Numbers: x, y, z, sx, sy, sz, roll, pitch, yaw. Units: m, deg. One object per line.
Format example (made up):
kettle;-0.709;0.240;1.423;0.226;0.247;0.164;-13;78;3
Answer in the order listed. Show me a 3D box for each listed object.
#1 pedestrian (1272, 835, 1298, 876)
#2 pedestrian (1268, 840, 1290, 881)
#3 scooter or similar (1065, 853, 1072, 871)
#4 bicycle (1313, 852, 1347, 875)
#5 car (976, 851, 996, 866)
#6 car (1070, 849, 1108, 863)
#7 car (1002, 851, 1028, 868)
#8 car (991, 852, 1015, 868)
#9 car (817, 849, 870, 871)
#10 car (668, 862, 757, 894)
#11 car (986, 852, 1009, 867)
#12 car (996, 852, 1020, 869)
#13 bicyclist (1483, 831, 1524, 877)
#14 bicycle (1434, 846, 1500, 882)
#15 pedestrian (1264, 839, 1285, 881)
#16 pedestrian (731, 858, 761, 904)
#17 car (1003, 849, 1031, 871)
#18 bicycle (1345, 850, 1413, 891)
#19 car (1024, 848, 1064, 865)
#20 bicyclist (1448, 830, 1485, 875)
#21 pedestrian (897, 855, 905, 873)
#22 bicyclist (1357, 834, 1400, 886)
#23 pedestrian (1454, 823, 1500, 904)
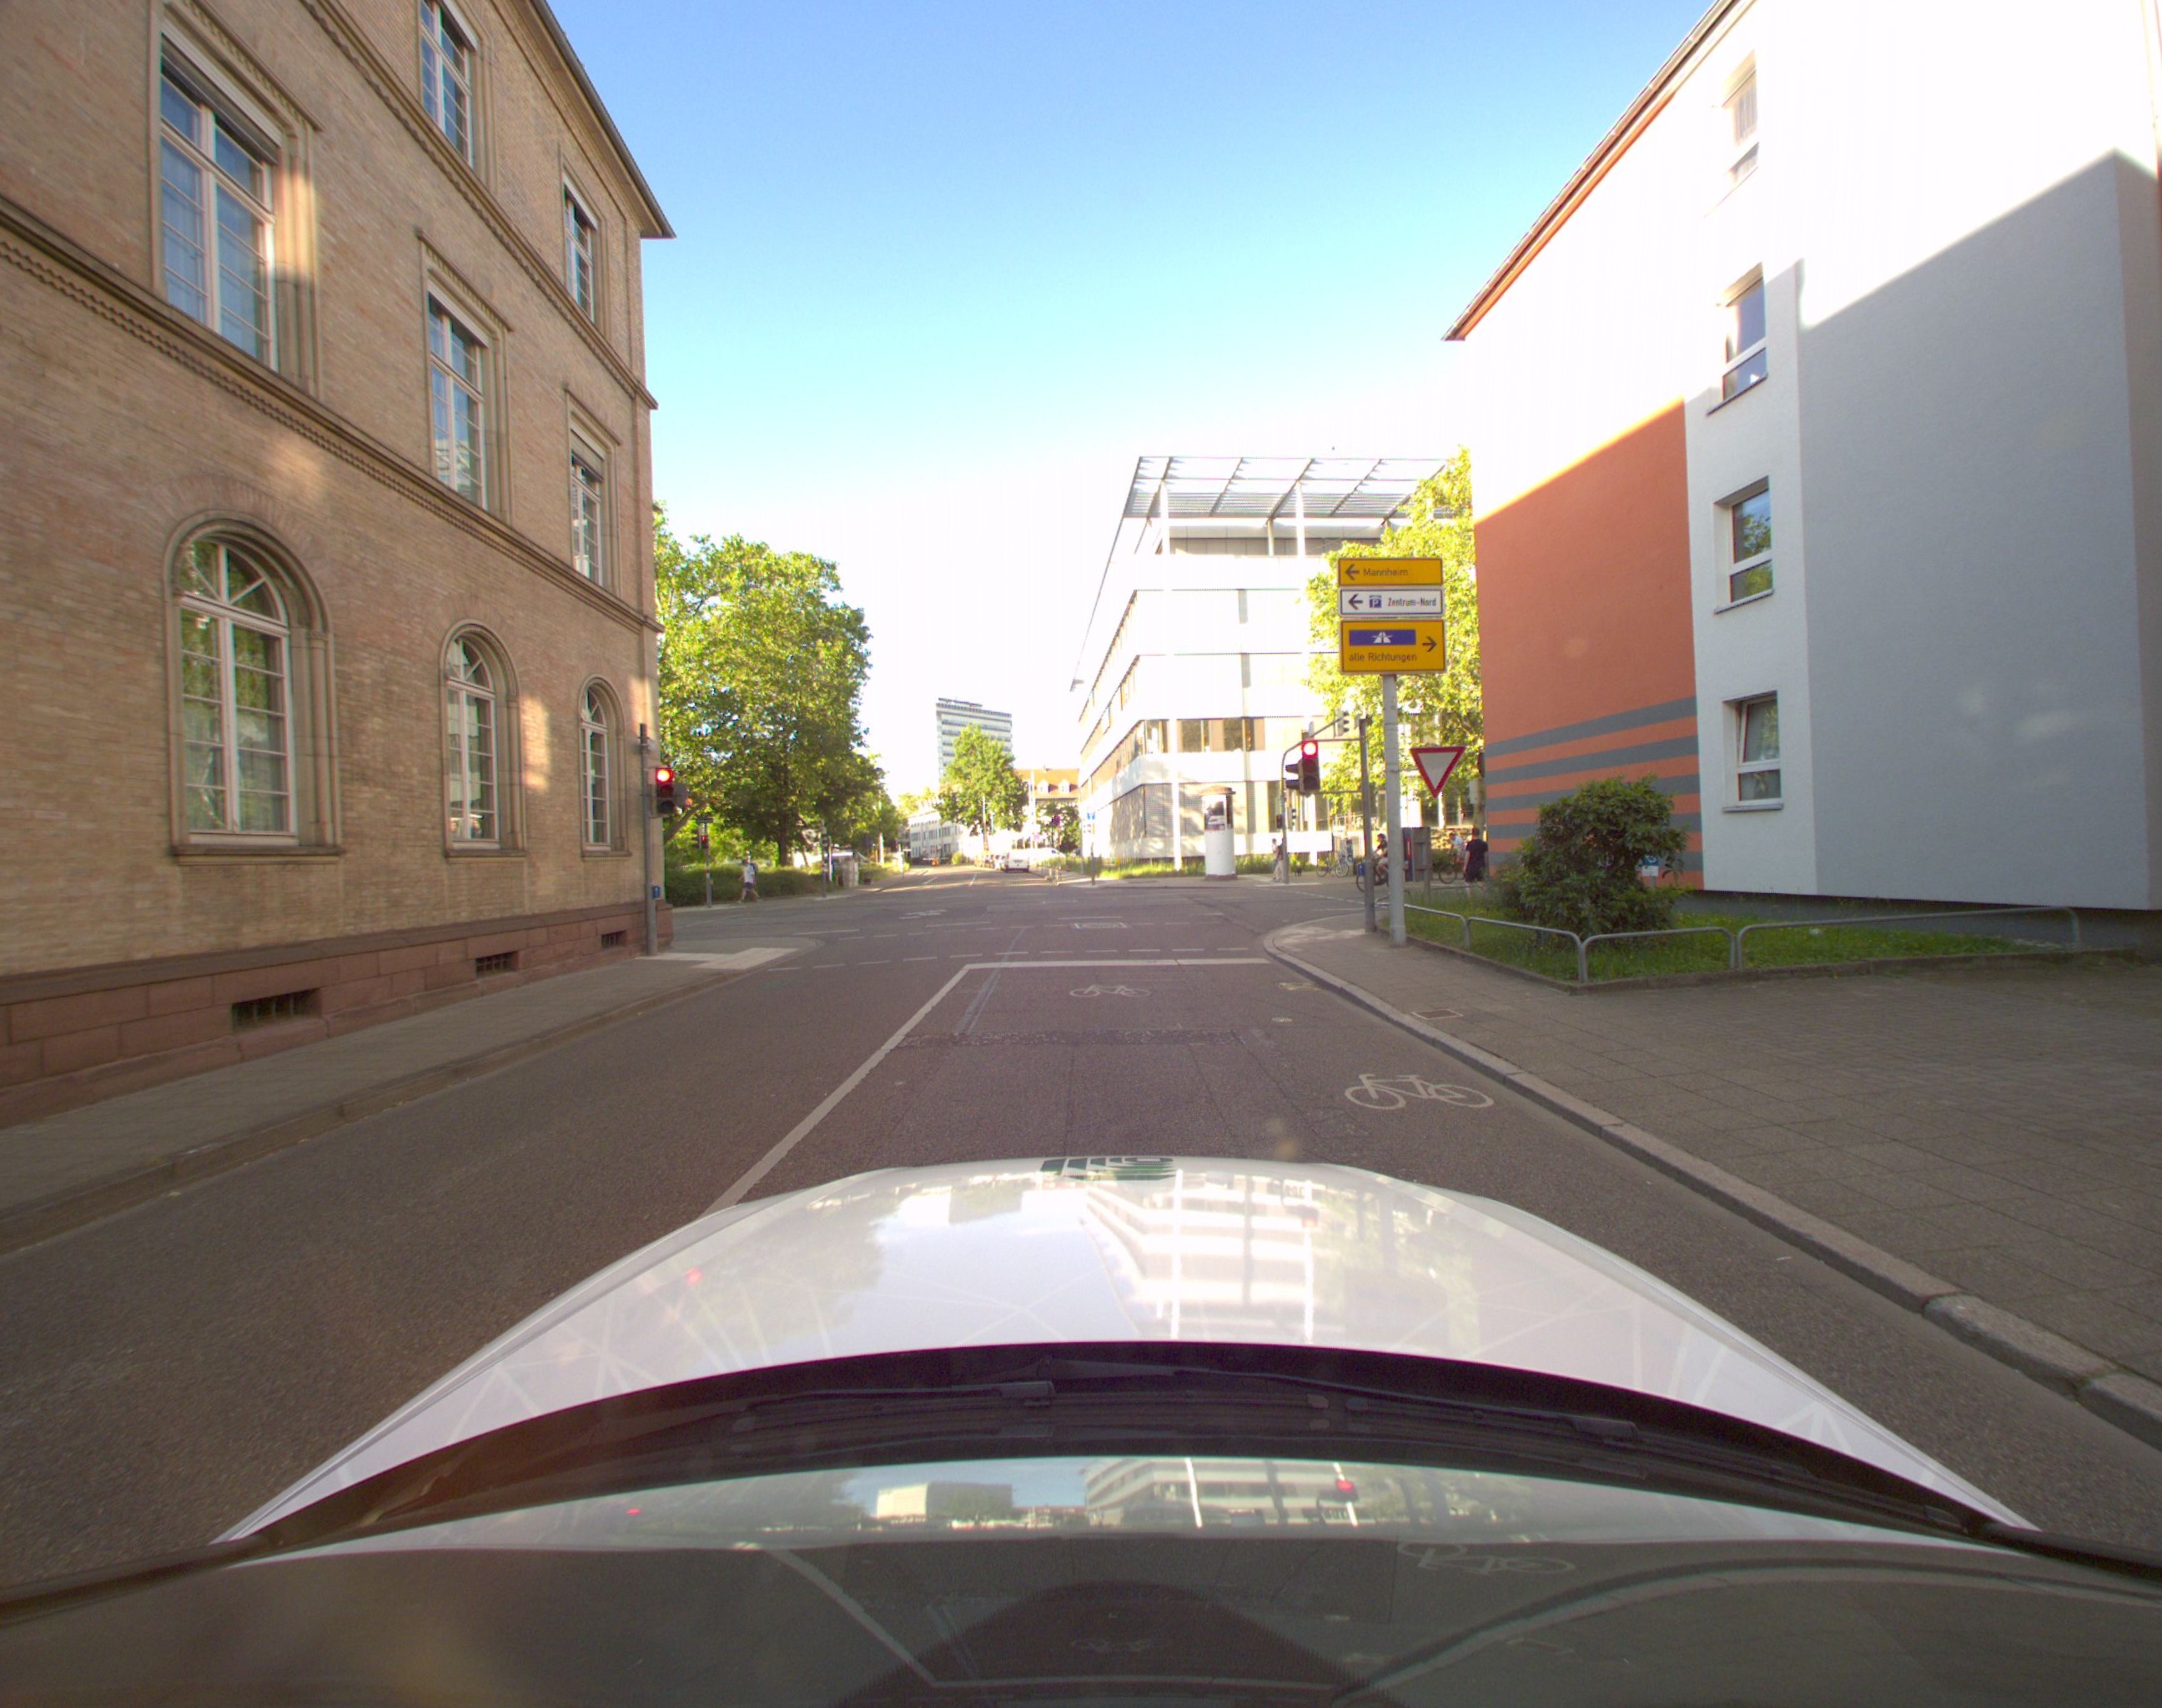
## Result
pedestrian;9.260;0.070;37.020;0.905;1.815;0.767;-1;-1;38
pedestrian;8.345;0.268;34.355;0.761;1.719;0.648;0;-1;4
scooter or similar;-0.916;0.587;58.487;0.436;1.256;1.418;-2;0;-2
bicycle;11.004;0.428;36.039;0.381;1.008;1.416;-2;0;-40
car;-11.305;0.548;96.315;1.995;1.725;4.633;0;-1;-11
car;1.019;0.270;104.967;4.644;1.725;1.990;0;-1;-15
car;-5.851;0.486;71.364;1.993;1.499;4.638;0;-1;-8
car;-7.846;0.594;81.638;1.994;1.499;4.270;0;-1;-11
car;-22.028;0.535;75.779;4.441;2.014;1.995;0;-1;-8
car;-17.086;1.093;37.913;3.407;1.457;1.646;0;-1;-8
car;-8.888;0.600;86.391;1.994;1.499;4.635;0;-1;-10
car;-6.924;0.617;77.164;1.993;1.499;4.638;0;-1;-8
bicyclist;13.715;0.000;26.438;0.967;1.446;0.628;-2;0;1
bicycle;13.427;0.346;28.326;1.955;1.152;0.628;-2;0;2
pedestrian;8.319;0.247;35.060;0.761;1.795;0.648;0;-1;4
pedestrian;-13.855;1.103;33.673;0.733;1.869;0.922;-1;-1;44
car;-5.175;0.474;65.130;1.992;1.725;4.640;0;-1;-7
bicycle;9.114;0.484;24.895;1.968;1.152;0.589;-2;0;-17
car;-4.687;0.286;103.261;4.802;2.159;1.989;0;-1;-16
bicyclist;13.408;-0.062;28.336;0.912;1.522;0.705;-2;0;2
pedestrian;-16.271;0.887;73.434;0.700;1.587;0.633;0;-1;-14
bicyclist;9.096;0.180;24.904;1.078;1.527;0.589;-2;0;-16
pedestrian;9.010;0.211;18.528;0.723;1.810;0.693;0;-1;-39
